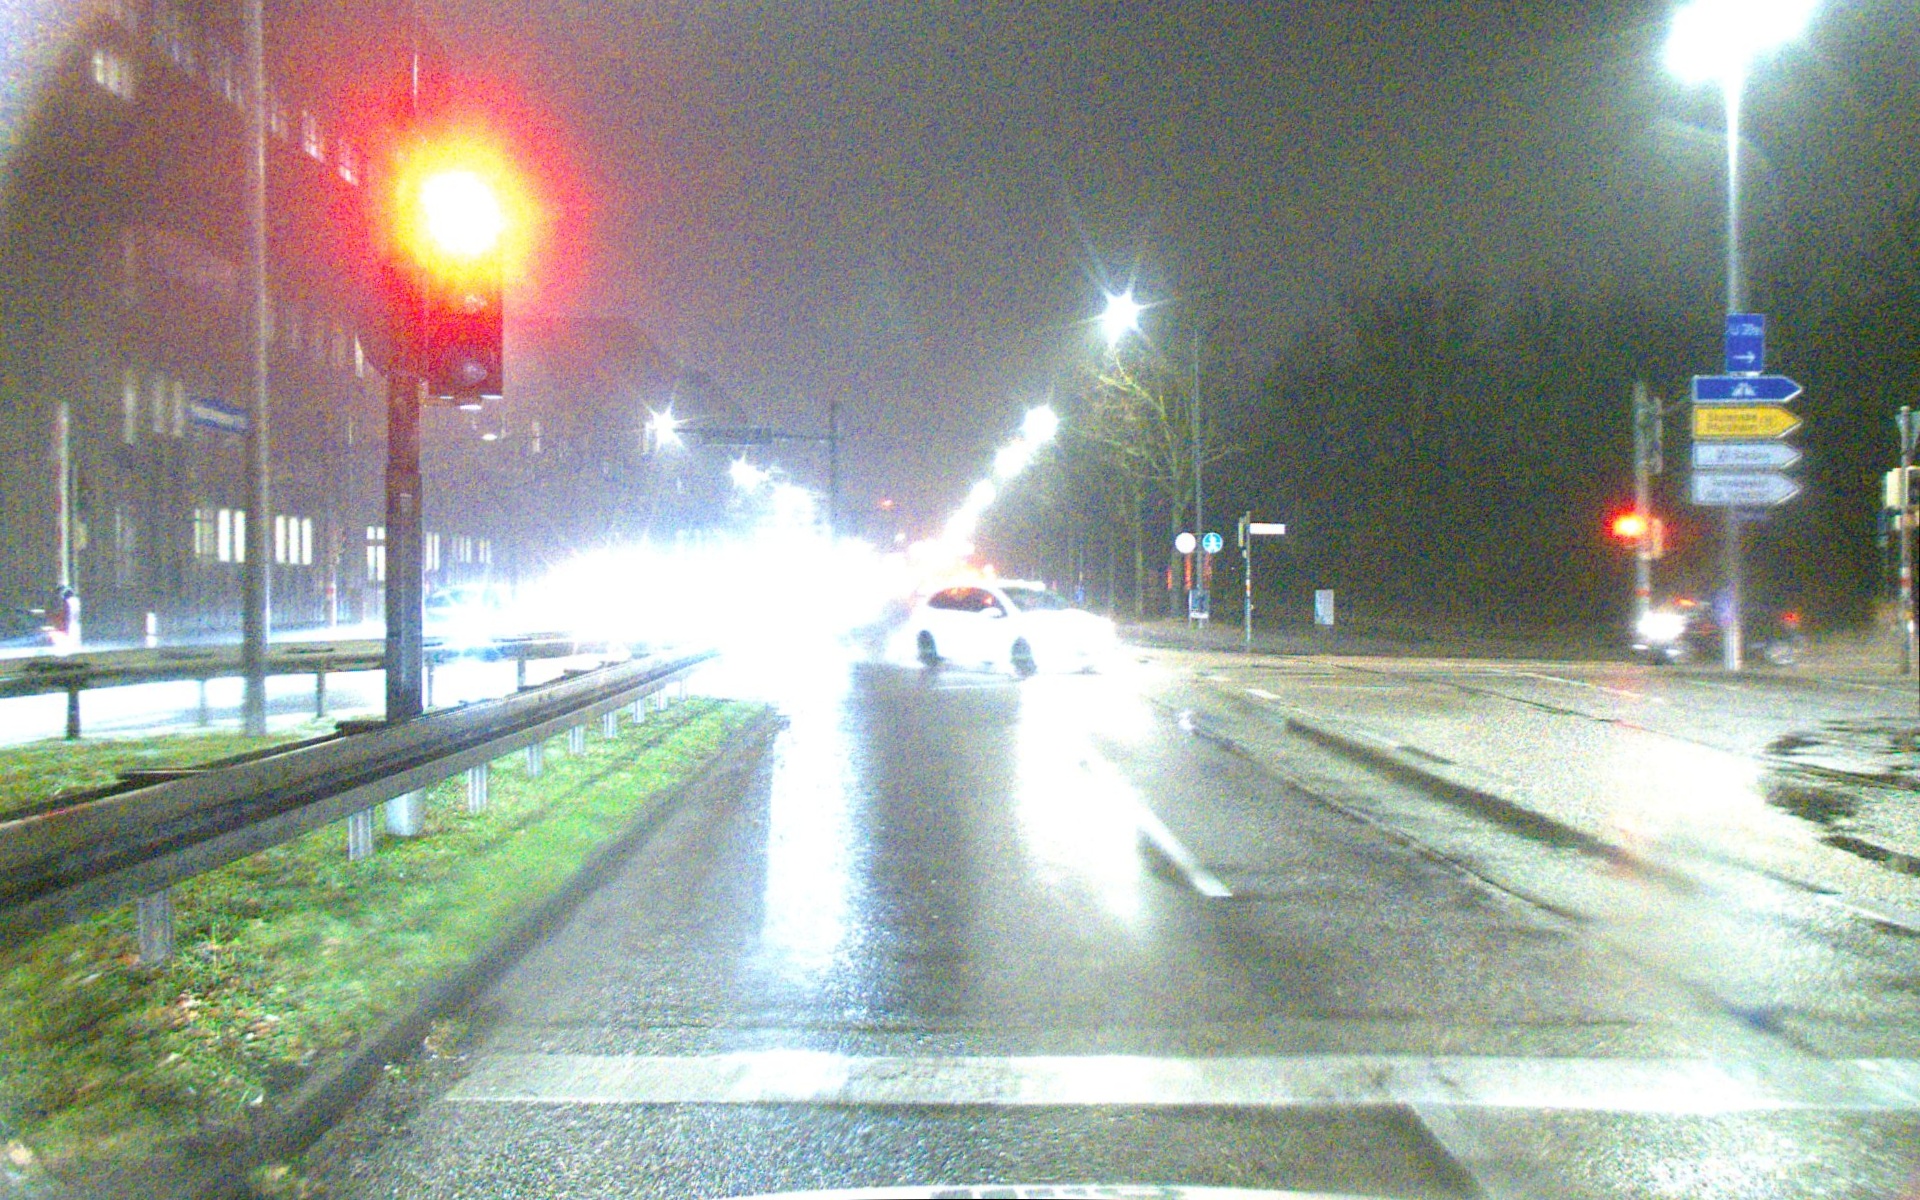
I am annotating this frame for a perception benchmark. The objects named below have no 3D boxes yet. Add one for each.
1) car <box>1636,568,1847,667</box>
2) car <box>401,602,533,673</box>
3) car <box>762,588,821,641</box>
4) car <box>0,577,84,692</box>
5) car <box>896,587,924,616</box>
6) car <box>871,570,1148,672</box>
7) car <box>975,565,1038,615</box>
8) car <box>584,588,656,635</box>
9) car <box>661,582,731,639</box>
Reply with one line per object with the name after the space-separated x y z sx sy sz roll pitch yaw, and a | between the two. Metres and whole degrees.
15.151 0.334 32.189 3.346 1.870 1.688 0 -1 4 | car
-11.599 0.858 39.236 1.847 1.579 4.432 0 0 -1 | car
-6.675 0.566 65.842 1.953 2.049 3.999 -1 0 -1 | car
-14.175 0.470 23.108 1.764 1.591 3.999 0 0 -1 | car
-3.610 0.111 120.746 1.953 2.049 3.999 0 0 -1 | car
0.784 0.347 28.915 1.985 1.638 4.890 1 -1 -44 | car
1.705 -0.343 61.651 1.865 1.811 3.995 0 0 -5 | car
-12.206 0.415 59.577 1.734 1.597 4.330 -1 0 -1 | car
-8.863 0.347 55.855 1.746 1.847 3.999 -1 0 -1 | car
